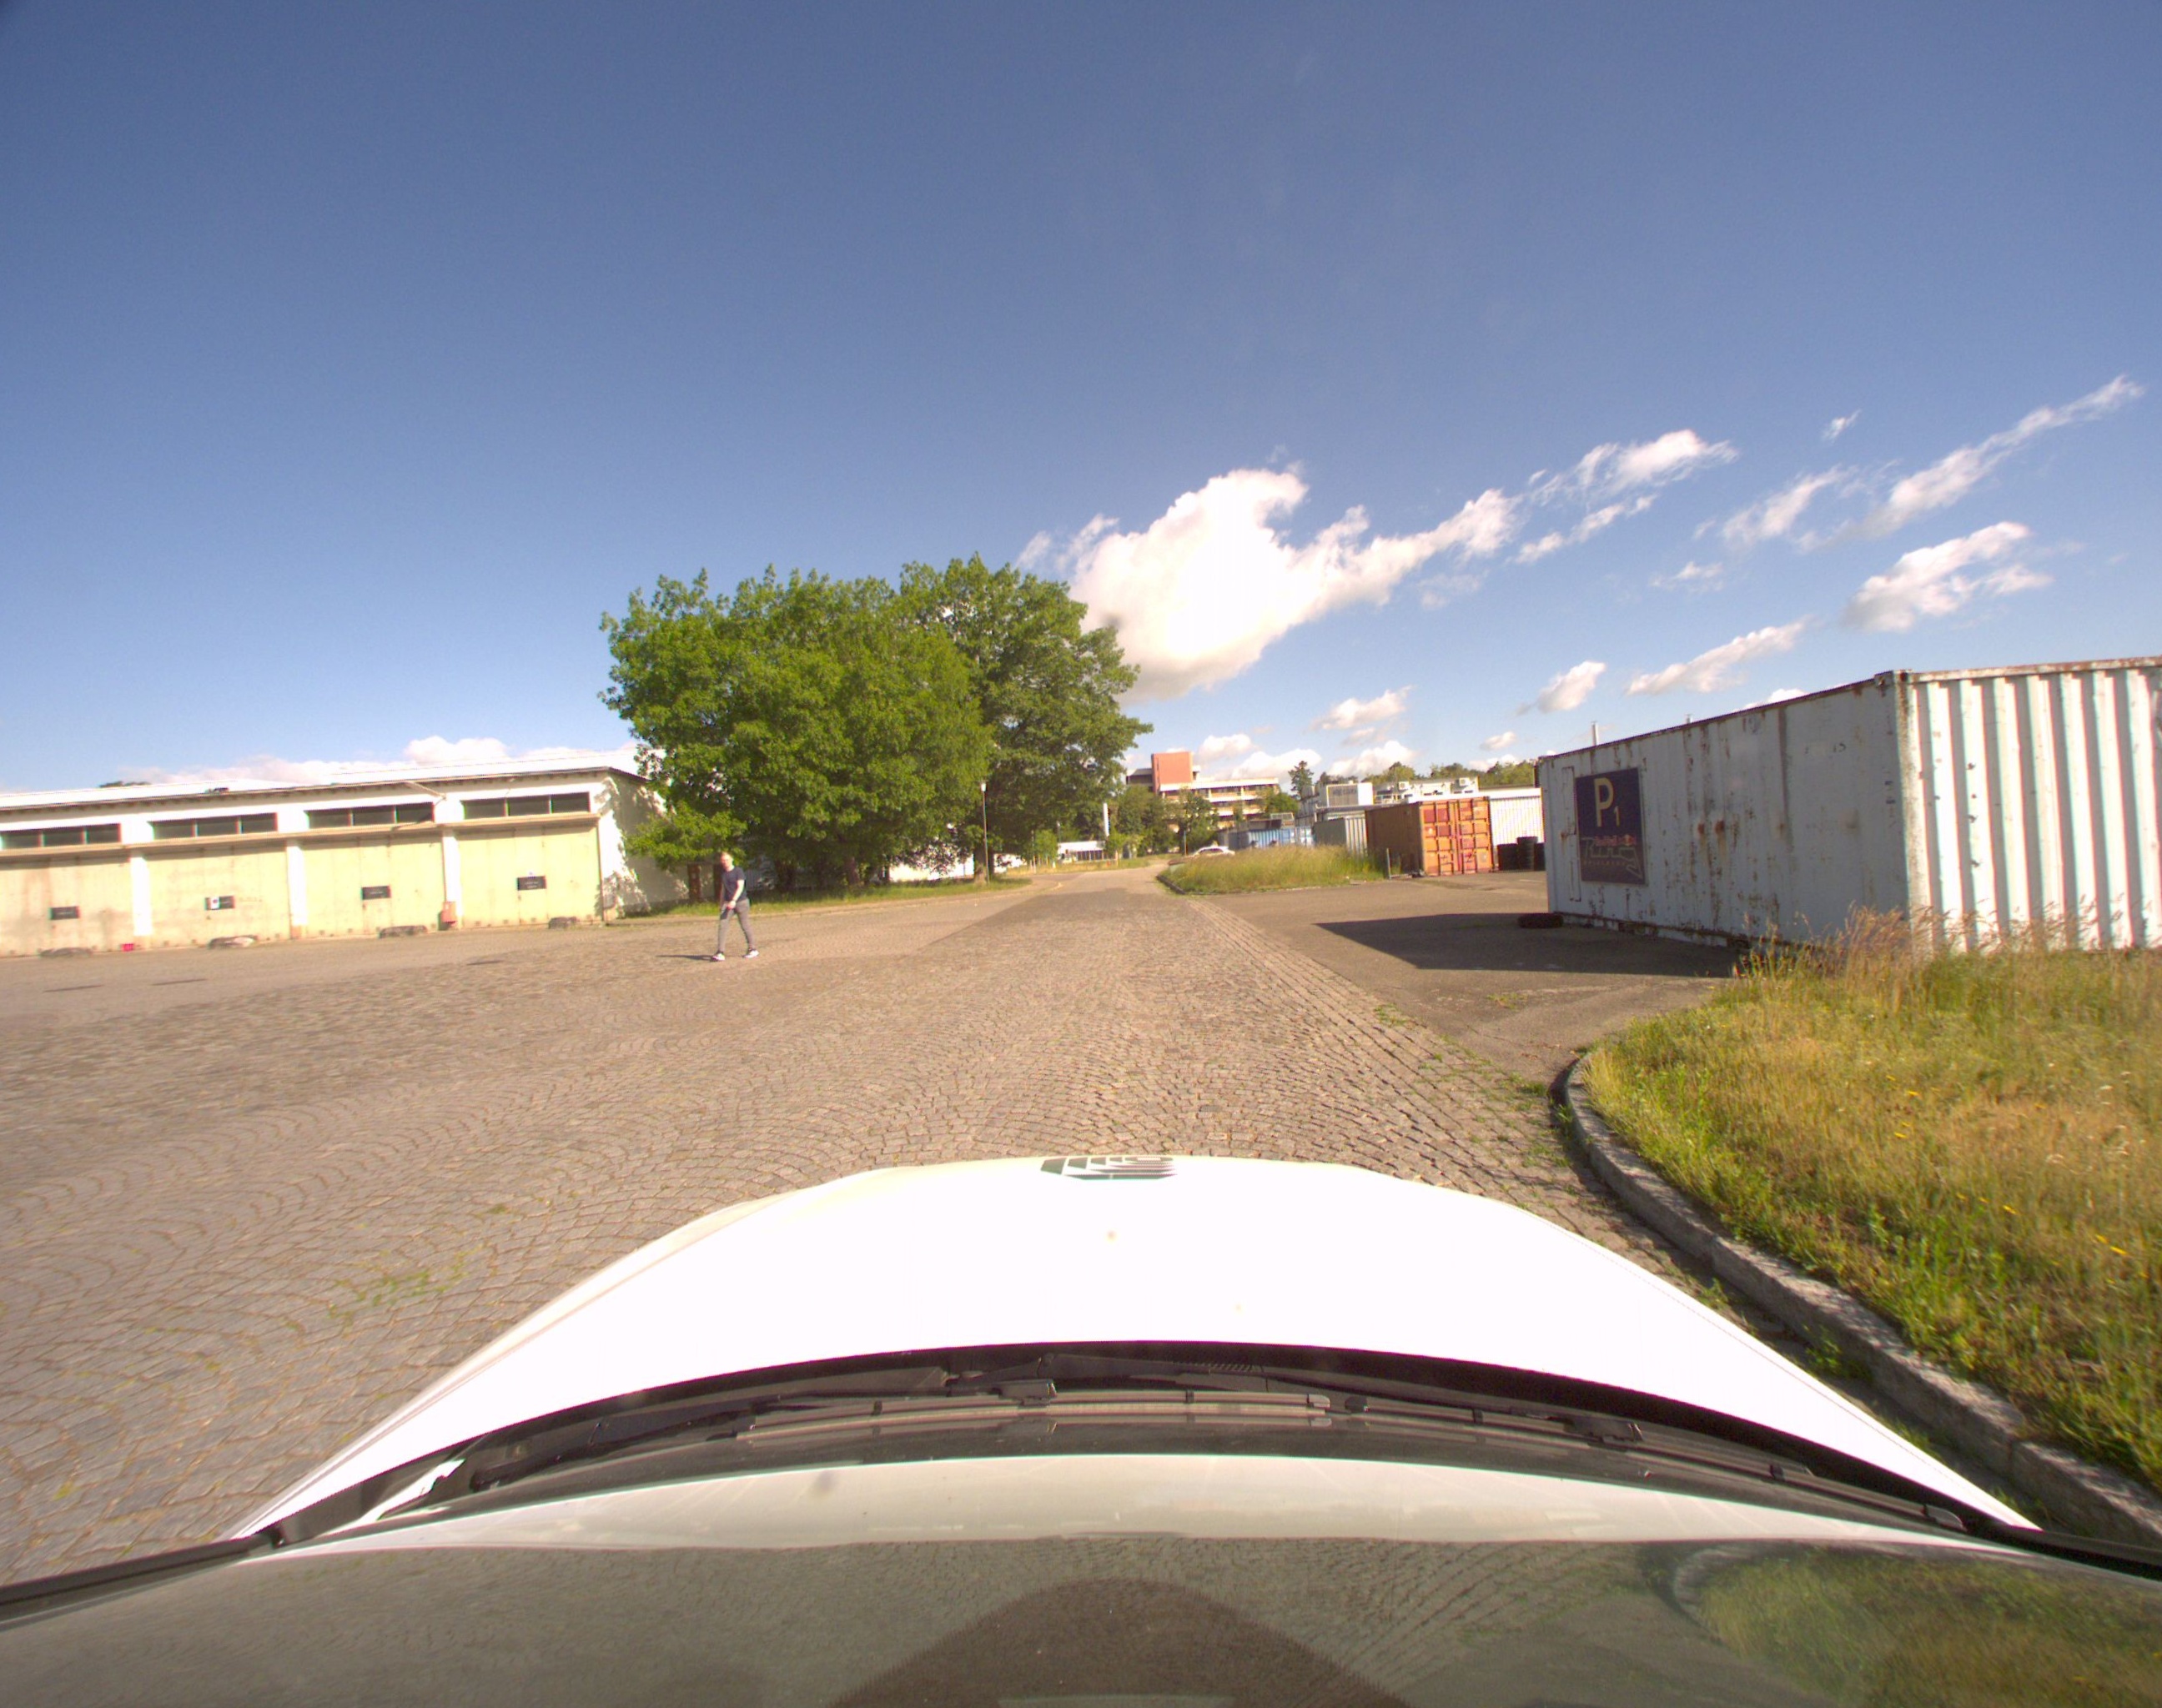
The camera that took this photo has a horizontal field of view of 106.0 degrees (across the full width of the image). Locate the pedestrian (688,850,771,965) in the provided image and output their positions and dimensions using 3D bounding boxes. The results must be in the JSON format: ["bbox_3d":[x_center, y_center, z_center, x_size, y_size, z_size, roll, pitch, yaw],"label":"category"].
[{"bbox_3d":[-6.198,0.910,14.409,0.794,1.914,1.143,-4,0,3],"label":"pedestrian"}]

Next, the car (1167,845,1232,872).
[{"bbox_3d":[8.813,0.343,60.973,4.570,1.677,1.876,-4,0,2],"label":"car"}]
